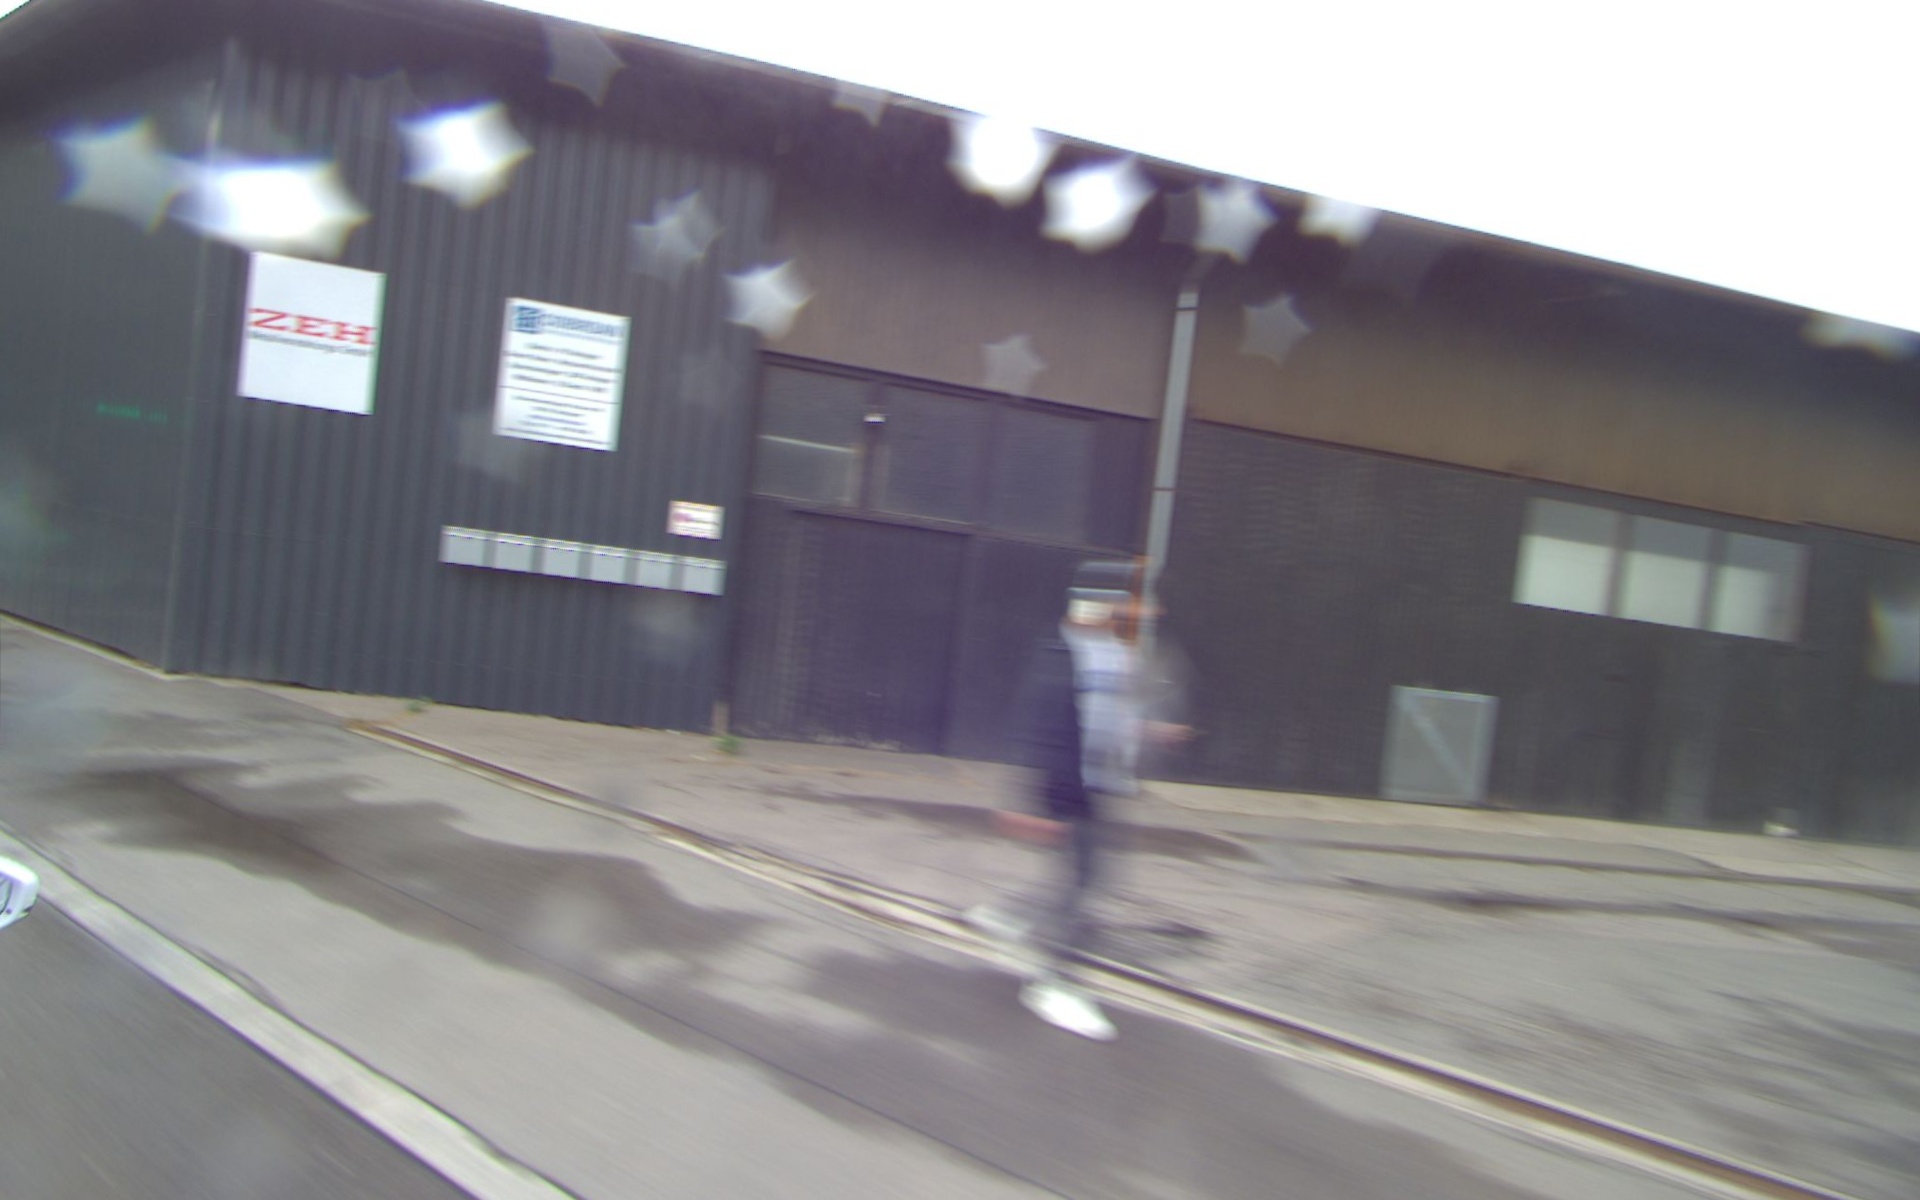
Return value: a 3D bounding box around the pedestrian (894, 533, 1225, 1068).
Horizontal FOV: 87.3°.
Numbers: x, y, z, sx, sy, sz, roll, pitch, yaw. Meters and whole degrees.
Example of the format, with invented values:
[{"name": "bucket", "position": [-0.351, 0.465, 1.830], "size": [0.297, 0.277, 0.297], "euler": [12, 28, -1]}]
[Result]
[{"name": "pedestrian", "position": [0.407, 0.681, 3.860], "size": [0.886, 1.724, 0.744], "euler": [6, -1, 26]}]
